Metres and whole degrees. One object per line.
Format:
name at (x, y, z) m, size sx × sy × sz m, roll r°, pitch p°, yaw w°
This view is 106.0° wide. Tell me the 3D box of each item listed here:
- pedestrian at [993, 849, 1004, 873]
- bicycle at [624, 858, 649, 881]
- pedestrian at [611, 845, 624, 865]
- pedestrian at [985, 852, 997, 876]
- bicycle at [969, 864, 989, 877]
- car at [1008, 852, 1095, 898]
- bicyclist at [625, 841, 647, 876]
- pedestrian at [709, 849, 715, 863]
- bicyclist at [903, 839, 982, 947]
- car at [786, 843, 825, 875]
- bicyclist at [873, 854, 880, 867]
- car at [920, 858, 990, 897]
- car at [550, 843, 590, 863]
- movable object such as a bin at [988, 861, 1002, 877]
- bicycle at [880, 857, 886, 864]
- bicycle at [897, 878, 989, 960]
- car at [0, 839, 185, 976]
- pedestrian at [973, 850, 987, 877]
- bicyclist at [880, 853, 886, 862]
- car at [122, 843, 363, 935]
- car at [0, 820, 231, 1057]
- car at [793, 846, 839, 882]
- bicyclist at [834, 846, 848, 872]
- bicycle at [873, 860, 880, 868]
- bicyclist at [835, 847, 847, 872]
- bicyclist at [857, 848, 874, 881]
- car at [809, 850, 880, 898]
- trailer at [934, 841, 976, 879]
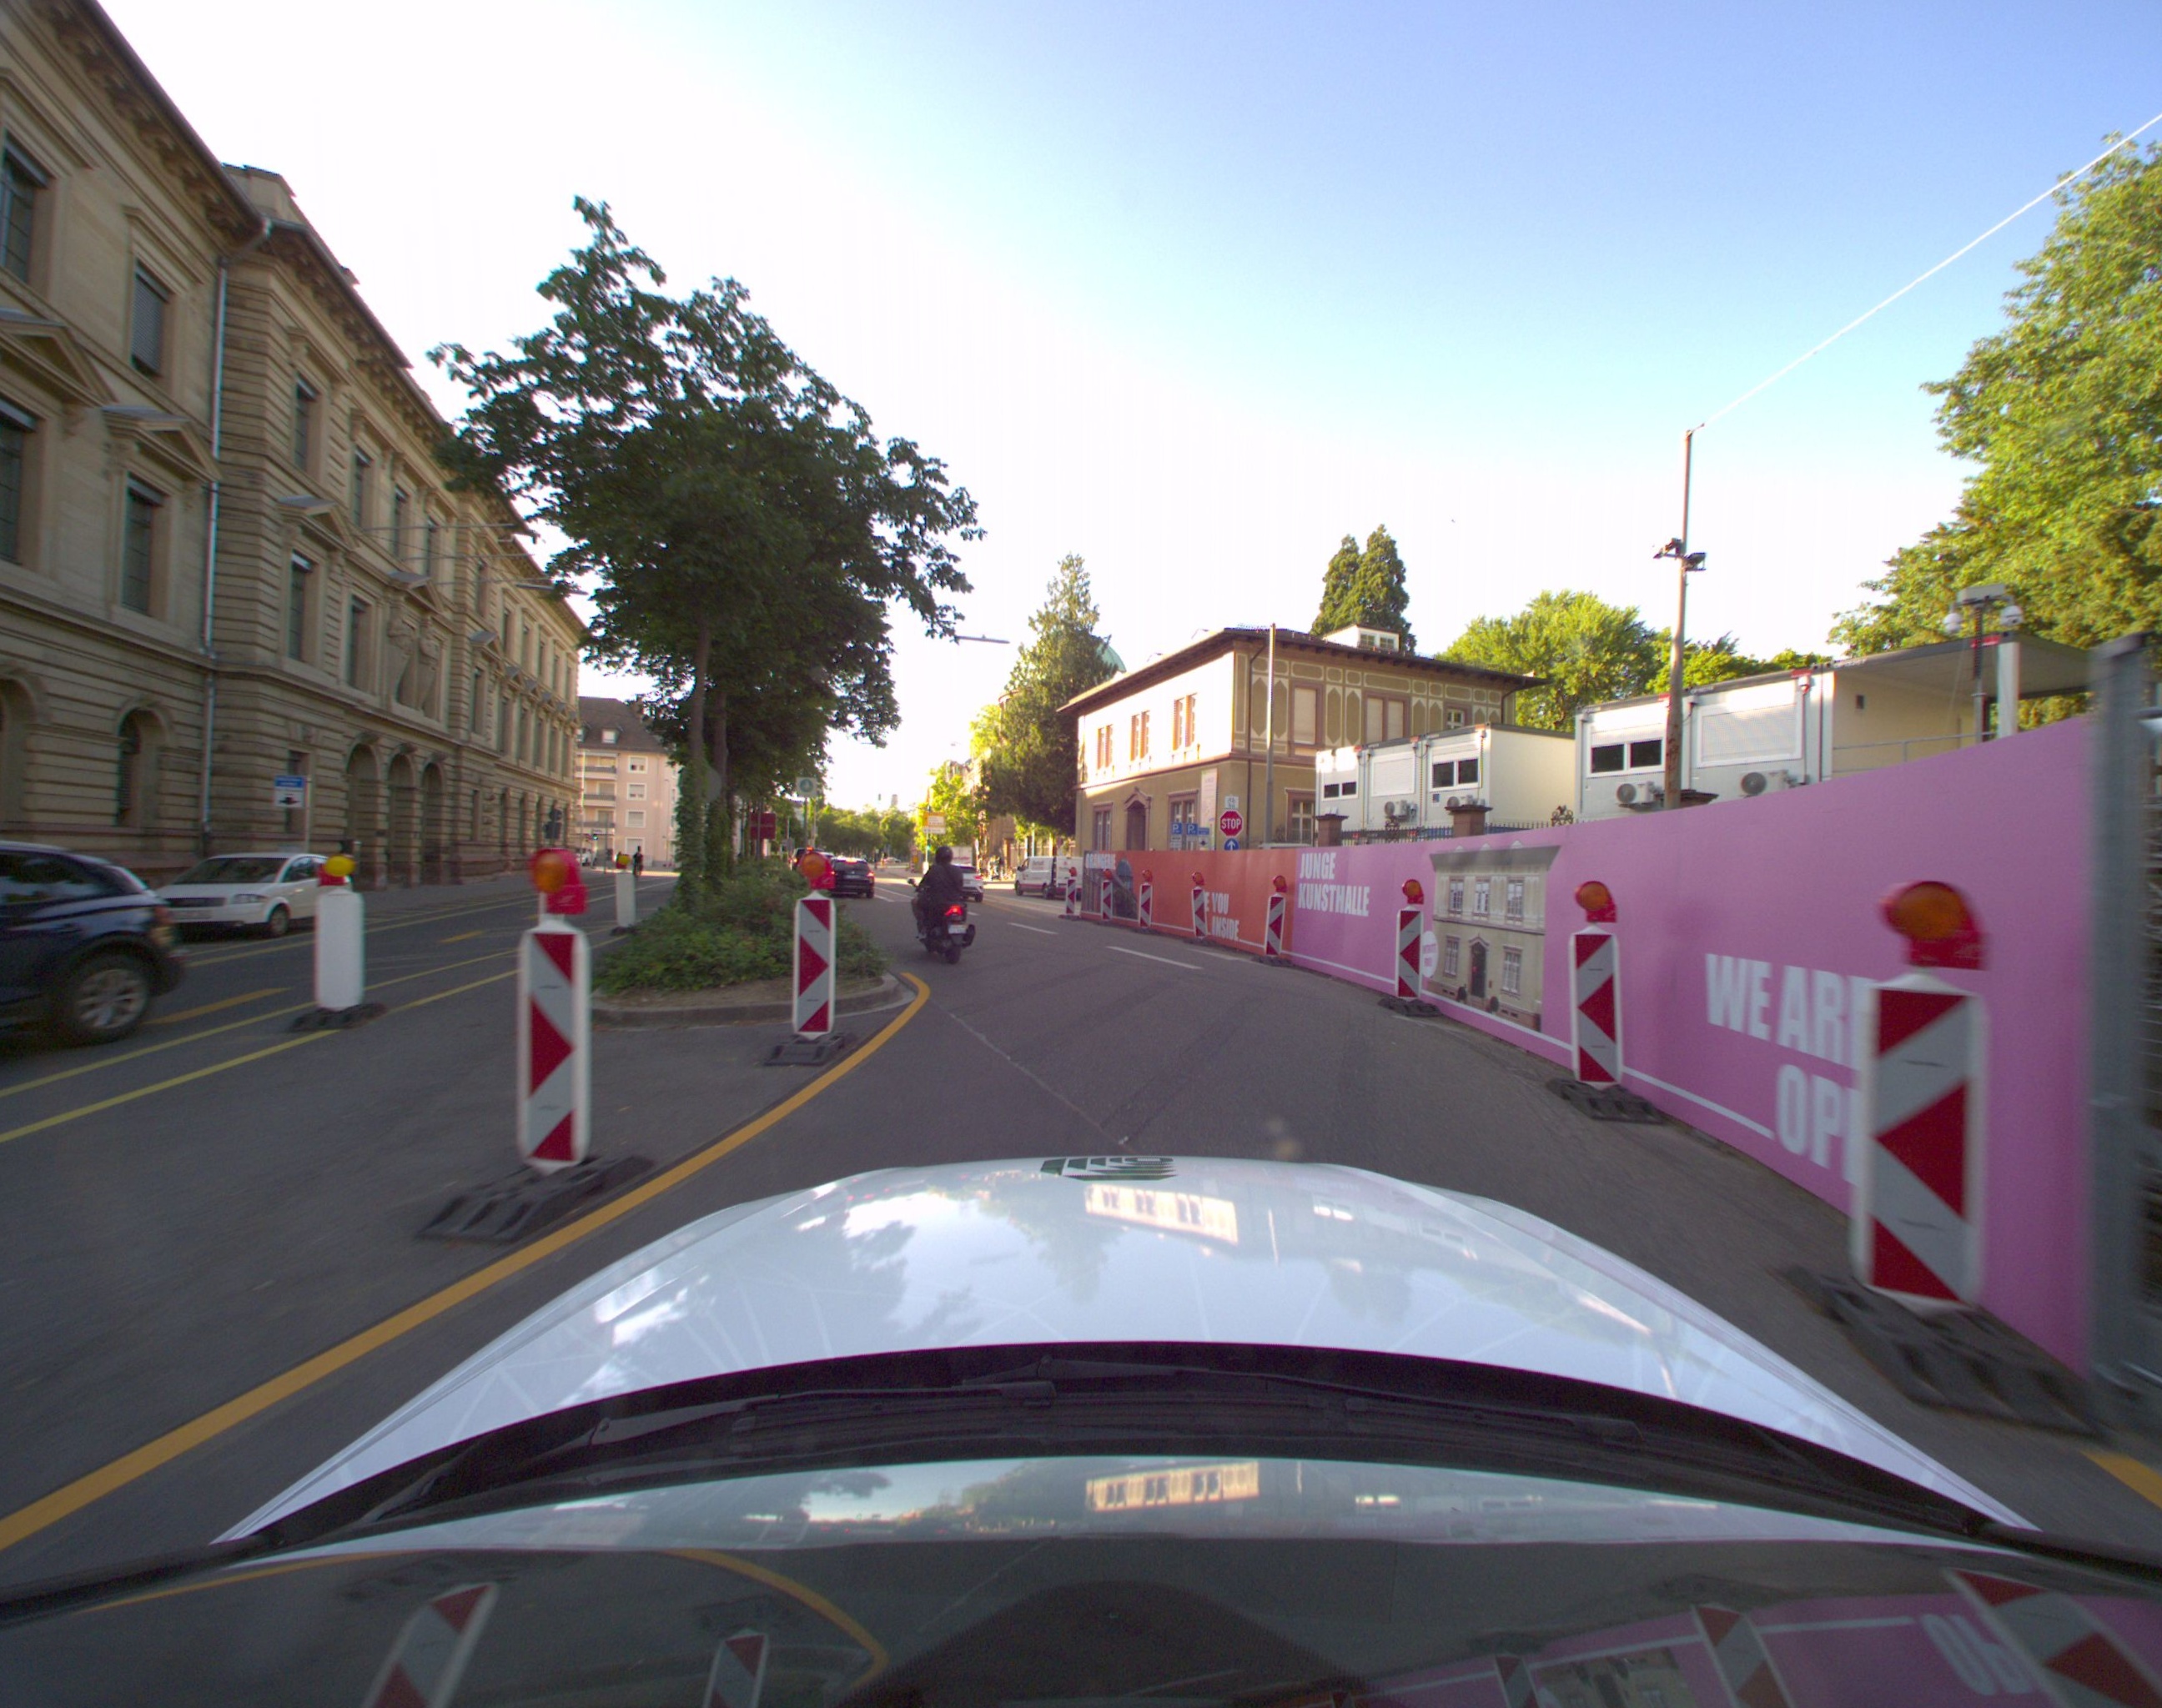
pedestrian at (-6.248, 0.517, 61.625) m, size 0.641 × 1.768 × 0.733 m, roll 2°, pitch -1°, yaw -18°
bicycle at (-24.119, 0.810, 44.199) m, size 0.884 × 1.194 × 2.160 m, roll -1°, pitch 0°, yaw -20°
pedestrian at (-37.963, 0.097, 66.750) m, size 0.633 × 1.584 × 0.813 m, roll 5°, pitch -2°, yaw -18°
pedestrian at (-6.463, 0.744, 58.469) m, size 0.685 × 1.701 × 0.689 m, roll 1°, pitch 0°, yaw -22°
bicycle at (-8.196, 1.303, 65.581) m, size 1.471 × 1.039 × 0.476 m, roll 1°, pitch -1°, yaw -21°
car at (-1.493, 0.944, 38.288) m, size 2.024 × 1.946 × 5.436 m, roll 4°, pitch -2°, yaw -25°
bicyclist at (-24.088, 0.232, 44.107) m, size 0.884 × 1.834 × 1.277 m, roll -1°, pitch 0°, yaw -21°
pedestrian at (-45.027, 0.212, 99.364) m, size 0.481 × 1.657 × 0.470 m, roll 2°, pitch -1°, yaw -16°
bicyclist at (-2.129, 0.575, 12.443) m, size 0.870 × 1.523 × 1.222 m, roll 4°, pitch -2°, yaw -21°
car at (-17.788, 0.348, 52.448) m, size 2.075 × 1.916 × 4.997 m, roll 2°, pitch -1°, yaw -21°
bicyclist at (-25.698, 0.773, 102.391) m, size 0.637 × 1.614 × 1.277 m, roll 3°, pitch -1°, yaw -16°
car at (-5.124, 0.916, 32.666) m, size 2.000 × 1.453 × 3.972 m, roll 2°, pitch -1°, yaw -20°
car at (-47.244, -0.097, 75.355) m, size 1.999 × 1.686 × 4.587 m, roll 2°, pitch -1°, yaw -18°
movable object such as a bin at (-6.064, 1.068, 57.661) m, size 0.714 × 1.117 × 1.043 m, roll 0°, pitch 0°, yaw -23°
bicycle at (-32.339, 1.050, 132.887) m, size 0.752 × 1.026 × 1.864 m, roll 3°, pitch -2°, yaw -8°
bicycle at (-2.163, 0.942, 12.453) m, size 0.873 × 1.043 × 2.437 m, roll 4°, pitch -1°, yaw -21°
car at (-13.002, 0.579, 9.245) m, size 1.886 × 1.507 × 4.612 m, roll 0°, pitch 0°, yaw -21°
pedestrian at (-7.166, 0.645, 57.941) m, size 0.718 × 1.894 × 0.883 m, roll 1°, pitch 0°, yaw -23°
bicyclist at (-32.316, 0.590, 132.927) m, size 0.747 × 1.537 × 0.967 m, roll 3°, pitch -1°, yaw -8°
car at (-15.547, 0.588, 15.403) m, size 1.674 × 1.508 × 3.819 m, roll 2°, pitch -1°, yaw -21°
car at (-8.441, 0.582, 5.046) m, size 1.876 × 1.670 × 4.642 m, roll 1°, pitch 0°, yaw -8°
car at (-13.817, 0.502, 42.311) m, size 1.998 × 1.749 × 4.715 m, roll 2°, pitch -1°, yaw -20°
bicyclist at (-15.440, 0.323, 52.337) m, size 0.805 × 1.608 × 0.820 m, roll 2°, pitch -1°, yaw -18°
bicycle at (-25.769, 1.268, 102.544) m, size 0.644 × 1.025 × 2.200 m, roll 4°, pitch -1°, yaw -16°
bicyclist at (-16.076, 0.360, 54.476) m, size 0.672 × 1.608 × 0.820 m, roll 2°, pitch -1°, yaw -18°
bicyclist at (-11.161, 0.543, 42.210) m, size 0.675 × 1.652 × 0.881 m, roll 3°, pitch -1°, yaw -20°
car at (-9.079, 0.715, 31.032) m, size 2.002 × 1.657 × 4.700 m, roll 2°, pitch -1°, yaw -23°
trailer at (-8.766, 0.421, 56.491) m, size 2.086 × 2.528 × 4.463 m, roll 0°, pitch 0°, yaw -19°
